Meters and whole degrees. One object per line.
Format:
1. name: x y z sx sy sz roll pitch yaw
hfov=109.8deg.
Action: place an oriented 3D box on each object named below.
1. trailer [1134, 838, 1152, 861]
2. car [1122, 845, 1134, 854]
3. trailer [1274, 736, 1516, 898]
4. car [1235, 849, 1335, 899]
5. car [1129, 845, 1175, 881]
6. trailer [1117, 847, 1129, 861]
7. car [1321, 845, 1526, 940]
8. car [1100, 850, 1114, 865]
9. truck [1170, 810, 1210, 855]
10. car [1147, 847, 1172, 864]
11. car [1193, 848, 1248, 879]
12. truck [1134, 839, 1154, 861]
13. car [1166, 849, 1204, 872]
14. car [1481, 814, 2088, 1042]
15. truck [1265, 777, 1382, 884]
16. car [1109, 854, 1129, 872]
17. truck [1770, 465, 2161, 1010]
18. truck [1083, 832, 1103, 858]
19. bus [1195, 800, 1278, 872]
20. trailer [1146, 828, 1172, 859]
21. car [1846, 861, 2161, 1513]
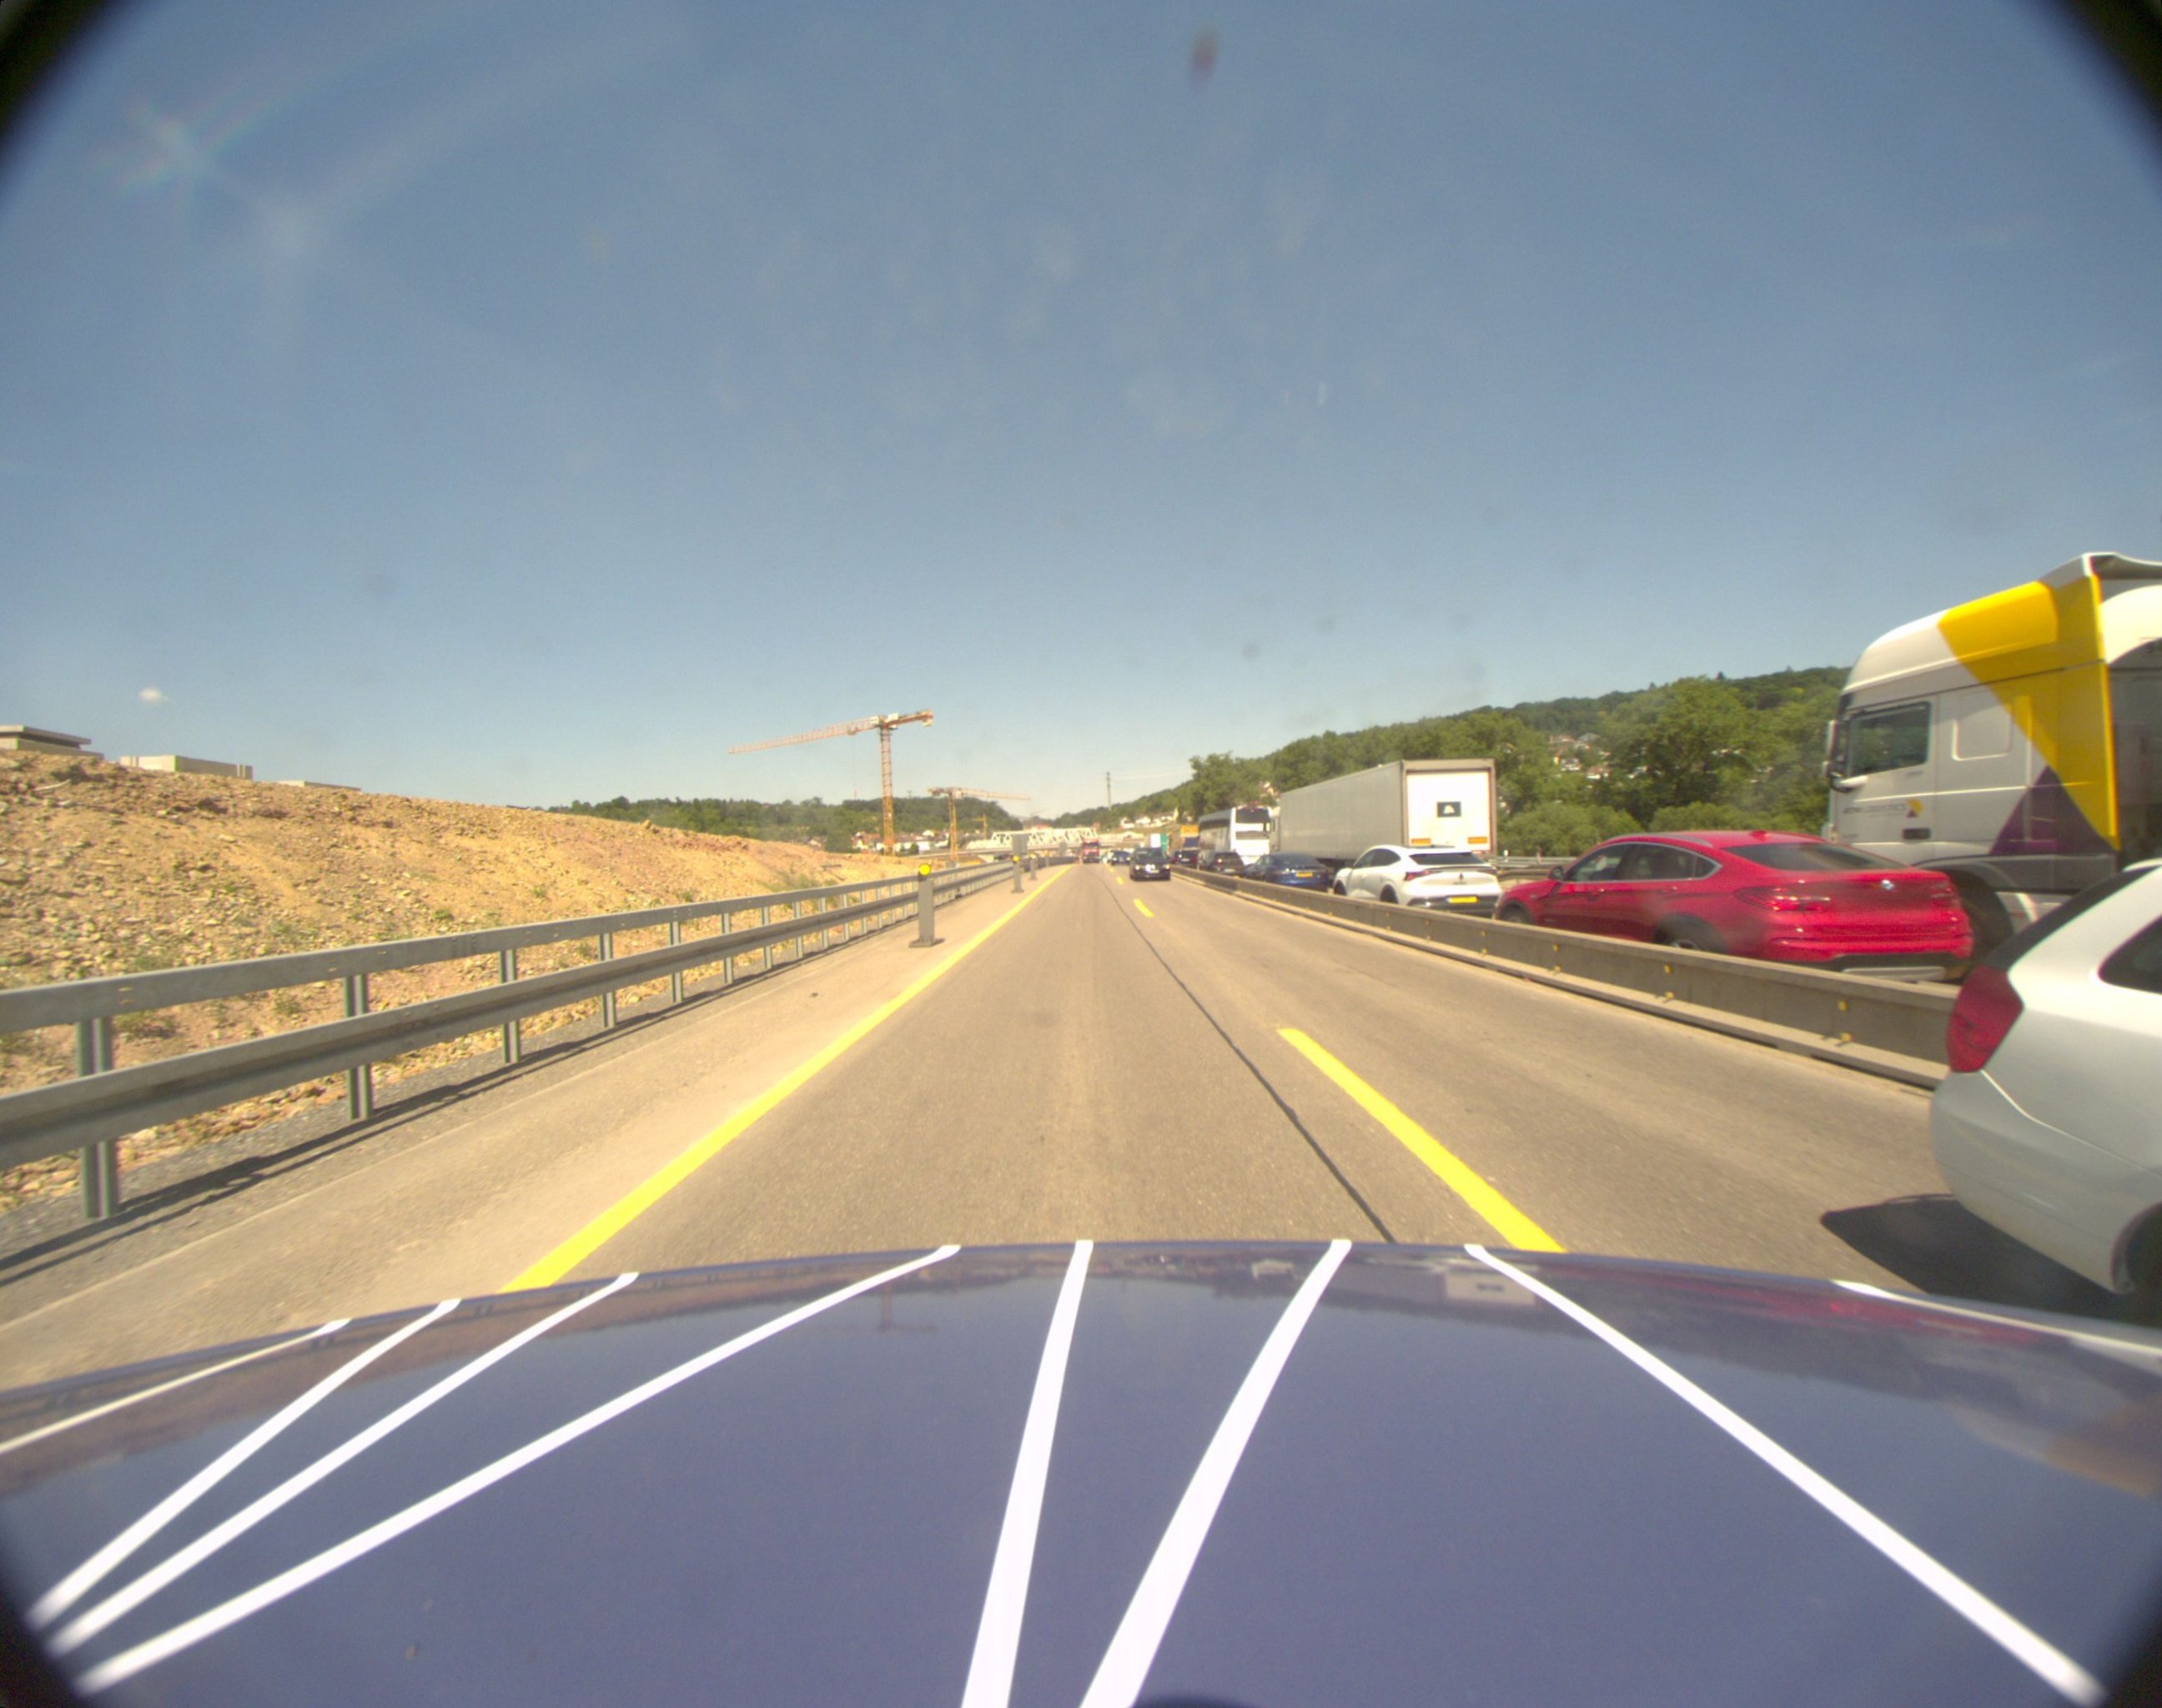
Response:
1. trailer: 12.974 -0.891 160.355 3.109 4.438 13.022 -1 -1 1
2. car: 8.649 -0.783 140.023 1.998 1.489 4.975 -1 0 0
3. trailer: 10.411 -1.007 27.918 3.148 4.358 14.078 -2 0 1
4. car: 6.633 0.641 25.349 1.817 1.429 5.121 -3 -1 -1
5. car: 3.565 0.420 38.933 1.862 1.683 4.096 -2 1 -1
6. trailer: 13.647 0.101 245.911 2.814 4.151 11.798 -2 -1 -2
7. car: 6.783 0.705 15.785 1.999 1.611 4.882 -2 -1 0
8. car: 3.514 0.509 104.435 1.791 1.870 4.001 -3 -1 1
9. truck: 10.904 -2.073 76.988 2.809 4.127 10.081 0 -1 2
10. car: 7.382 0.121 72.054 1.842 1.435 4.929 -1 1 0
11. car: 7.010 0.454 38.628 1.837 1.415 4.682 -1 1 0
12. truck: 11.594 -0.729 140.865 2.911 3.742 8.369 -3 -1 1
13. car: 7.179 0.414 52.782 1.923 1.414 5.091 -3 0 0
14. car: 6.573 0.600 8.123 1.999 1.621 4.758 -3 -1 0
15. truck: 10.520 -0.910 33.765 3.105 4.173 6.702 -2 0 1
16. car: 3.635 0.864 73.072 1.791 1.578 4.001 -3 -1 1
17. truck: 9.778 -0.923 6.173 2.985 4.160 5.874 -2 0 0
18. truck: 1.888 -1.334 115.291 2.702 3.704 8.509 -2 0 2
19. bus: 10.420 -1.164 52.774 2.746 4.239 14.474 -2 1 0
20. trailer: 11.695 -1.554 115.192 2.822 4.404 13.168 -1 0 1
21. car: 3.492 0.815 0.203 1.823 1.521 4.705 -2 1 0
